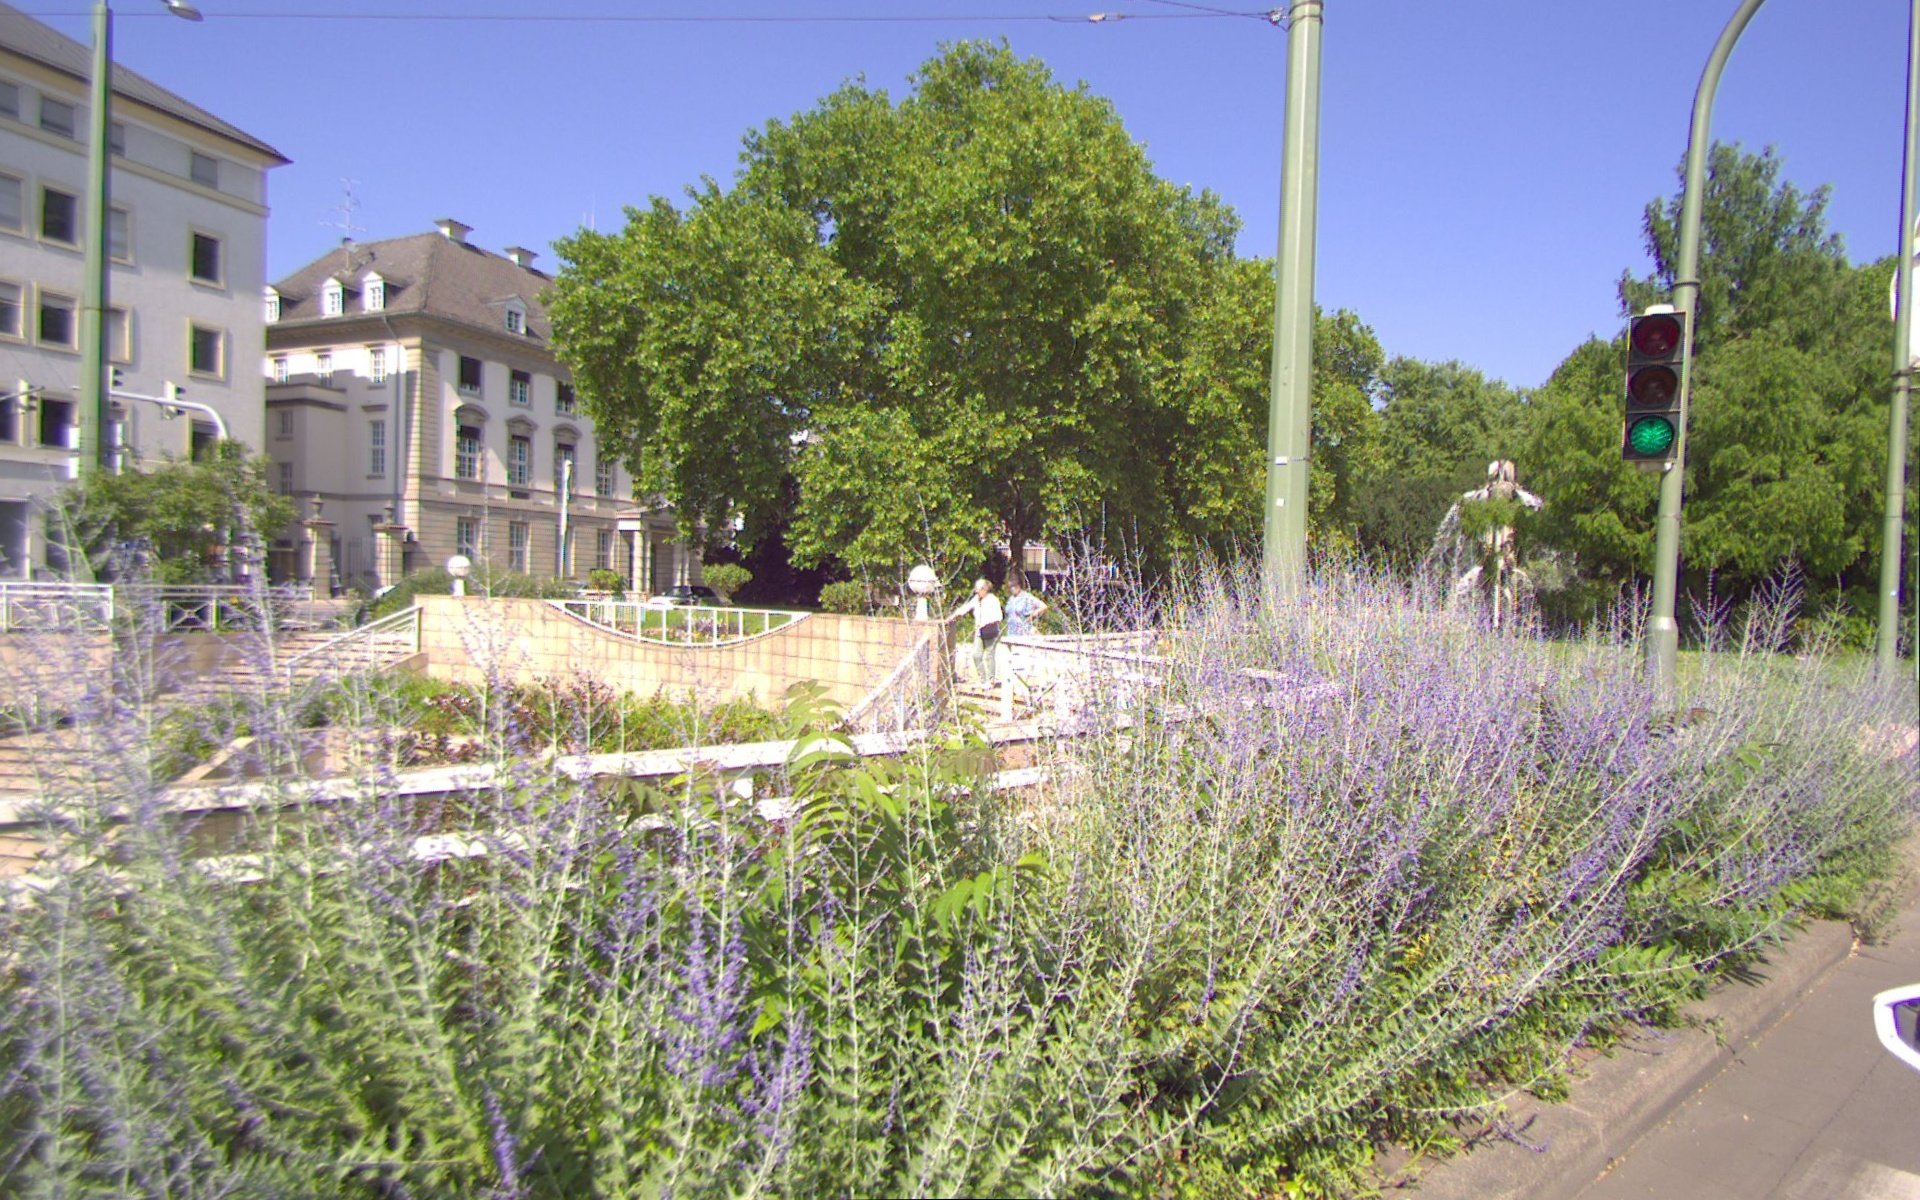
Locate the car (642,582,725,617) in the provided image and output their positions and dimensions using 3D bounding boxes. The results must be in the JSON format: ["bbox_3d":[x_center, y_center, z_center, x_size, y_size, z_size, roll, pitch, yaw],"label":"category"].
[{"bbox_3d":[-11.865,-0.016,43.317,1.580,1.397,3.583,2,1,22],"label":"car"}]

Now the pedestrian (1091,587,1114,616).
[{"bbox_3d":[6.362,0.063,44.788,0.661,1.242,0.751,1,1,-26],"label":"pedestrian"}]

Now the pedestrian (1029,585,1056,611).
[{"bbox_3d":[4.095,-0.088,49.906,1.045,1.242,0.751,1,1,-27],"label":"pedestrian"}]

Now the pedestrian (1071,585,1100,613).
[{"bbox_3d":[5.698,-0.052,45.630,1.045,1.242,0.751,1,1,-27],"label":"pedestrian"}]

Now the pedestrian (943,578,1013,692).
[{"bbox_3d":[0.250,0.475,14.148,0.837,1.530,0.473,3,1,35],"label":"pedestrian"}]

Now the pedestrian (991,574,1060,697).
[{"bbox_3d":[0.892,0.469,13.681,0.681,1.614,0.598,3,1,35],"label":"pedestrian"}]
